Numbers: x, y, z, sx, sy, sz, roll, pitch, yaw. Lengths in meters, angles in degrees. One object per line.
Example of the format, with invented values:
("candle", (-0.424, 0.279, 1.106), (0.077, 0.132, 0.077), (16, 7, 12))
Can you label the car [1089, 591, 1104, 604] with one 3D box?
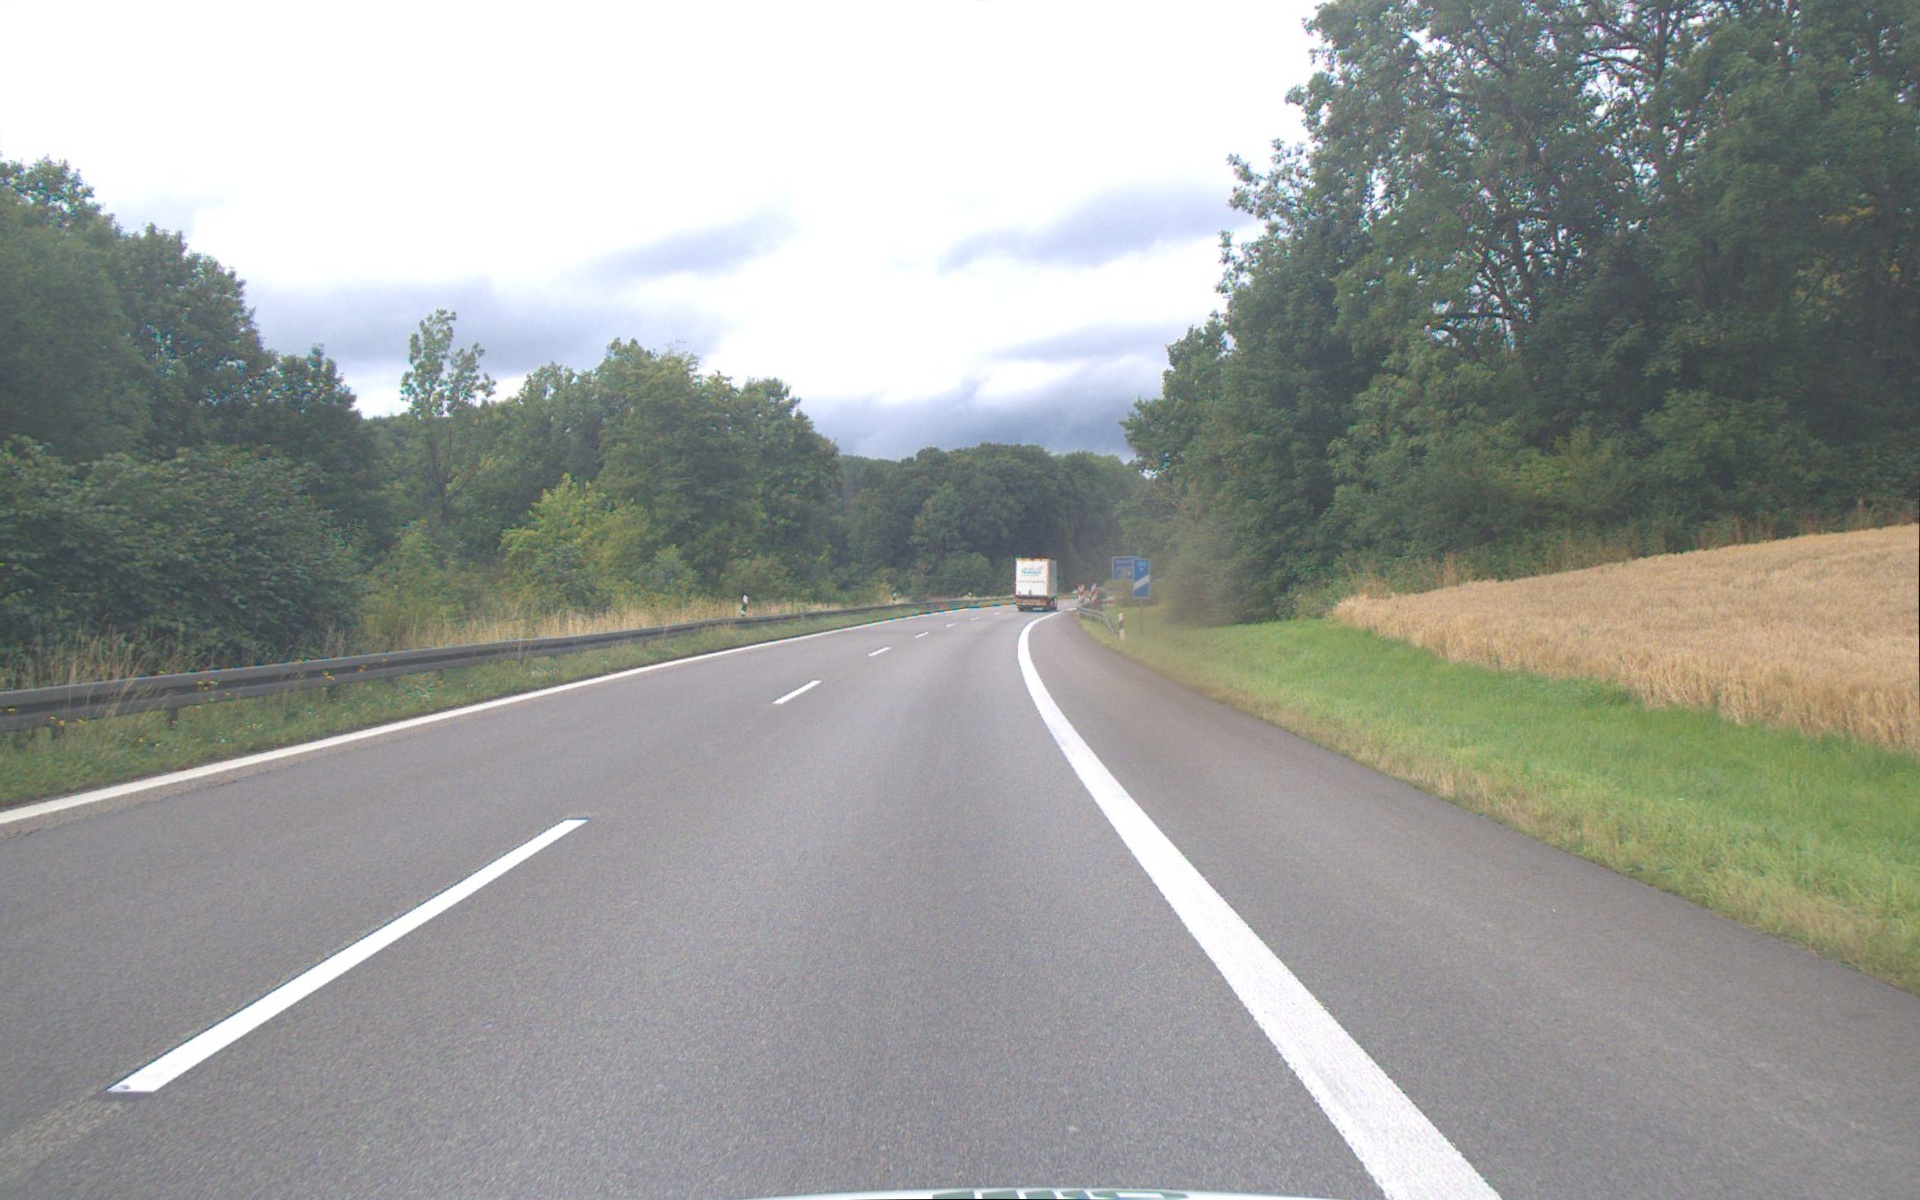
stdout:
("car", (19.360, -0.346, 233.982), (1.862, 1.827, 4.003), (1, -1, 9))

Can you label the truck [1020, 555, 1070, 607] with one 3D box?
("truck", (7.214, -1.546, 139.033), (3.707, 4.204, 8.270), (0, 0, 6))

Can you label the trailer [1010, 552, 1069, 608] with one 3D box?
("trailer", (6.475, -1.551, 132.412), (3.725, 4.247, 14.819), (0, 0, 6))
